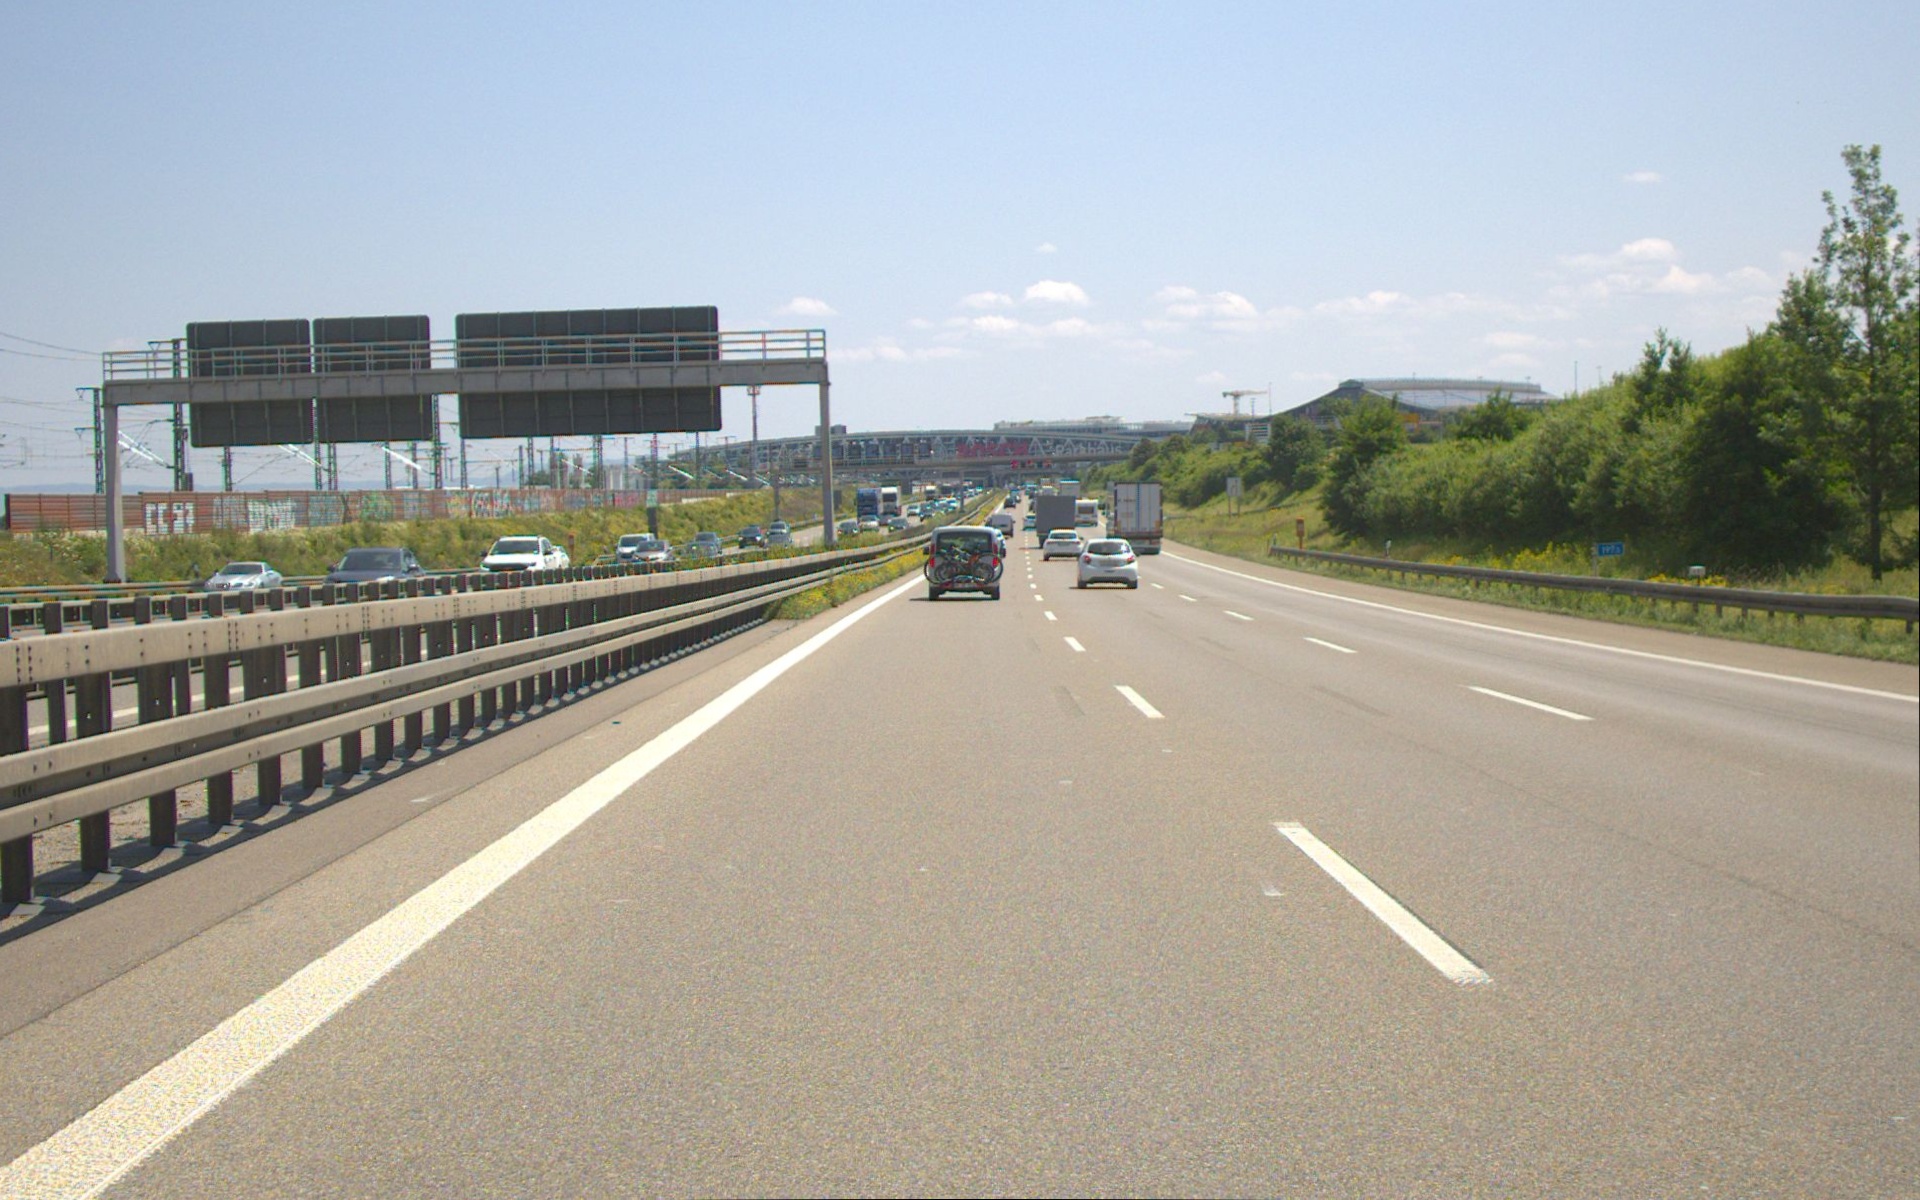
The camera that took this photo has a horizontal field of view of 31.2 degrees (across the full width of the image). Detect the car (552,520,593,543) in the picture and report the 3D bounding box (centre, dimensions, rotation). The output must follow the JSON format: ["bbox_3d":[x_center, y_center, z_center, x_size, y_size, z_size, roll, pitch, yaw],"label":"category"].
[{"bbox_3d":[-22.621,-4.007,200.833,1.947,1.342,4.000,0,1,-1],"label":"car"}]

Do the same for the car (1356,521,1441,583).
[{"bbox_3d":[13.829,-1.494,108.585,1.926,1.912,4.518,0,0,-3],"label":"car"}]

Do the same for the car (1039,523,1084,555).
[{"bbox_3d":[4.877,-2.946,165.829,1.982,1.468,4.000,0,0,-1],"label":"car"}]

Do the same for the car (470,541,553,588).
[{"bbox_3d":[-13.101,-1.046,100.646,1.947,1.342,4.000,0,1,-1],"label":"car"}]

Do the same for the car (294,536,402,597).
[{"bbox_3d":[-13.744,-0.779,77.375,1.765,1.342,4.000,0,1,-1],"label":"car"}]

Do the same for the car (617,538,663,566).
[{"bbox_3d":[-15.971,-2.409,171.810,1.947,1.342,4.000,0,1,-1],"label":"car"}]

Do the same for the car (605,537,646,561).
[{"bbox_3d":[-18.542,-2.825,190.535,1.947,1.342,4.000,0,1,-1],"label":"car"}]

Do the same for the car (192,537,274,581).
[{"bbox_3d":[-22.695,-1.288,107.474,1.765,1.342,4.000,0,1,-1],"label":"car"}]

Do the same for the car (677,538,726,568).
[{"bbox_3d":[-11.610,-2.122,154.618,1.947,1.342,4.000,0,1,-1],"label":"car"}]

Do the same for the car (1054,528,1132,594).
[{"bbox_3d":[3.895,-1.130,101.343,1.926,1.912,4.518,0,0,-3],"label":"car"}]

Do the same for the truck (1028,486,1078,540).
[{"bbox_3d":[5.774,-5.381,214.478,2.702,3.098,10.659,0,0,-1],"label":"truck"}]

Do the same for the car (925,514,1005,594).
[{"bbox_3d":[0.111,-1.122,85.480,1.926,1.912,4.948,0,0,0],"label":"car"}]

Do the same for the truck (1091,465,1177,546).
[{"bbox_3d":[9.555,-5.292,190.104,4.039,4.247,11.759,0,3,-1],"label":"truck"}]
